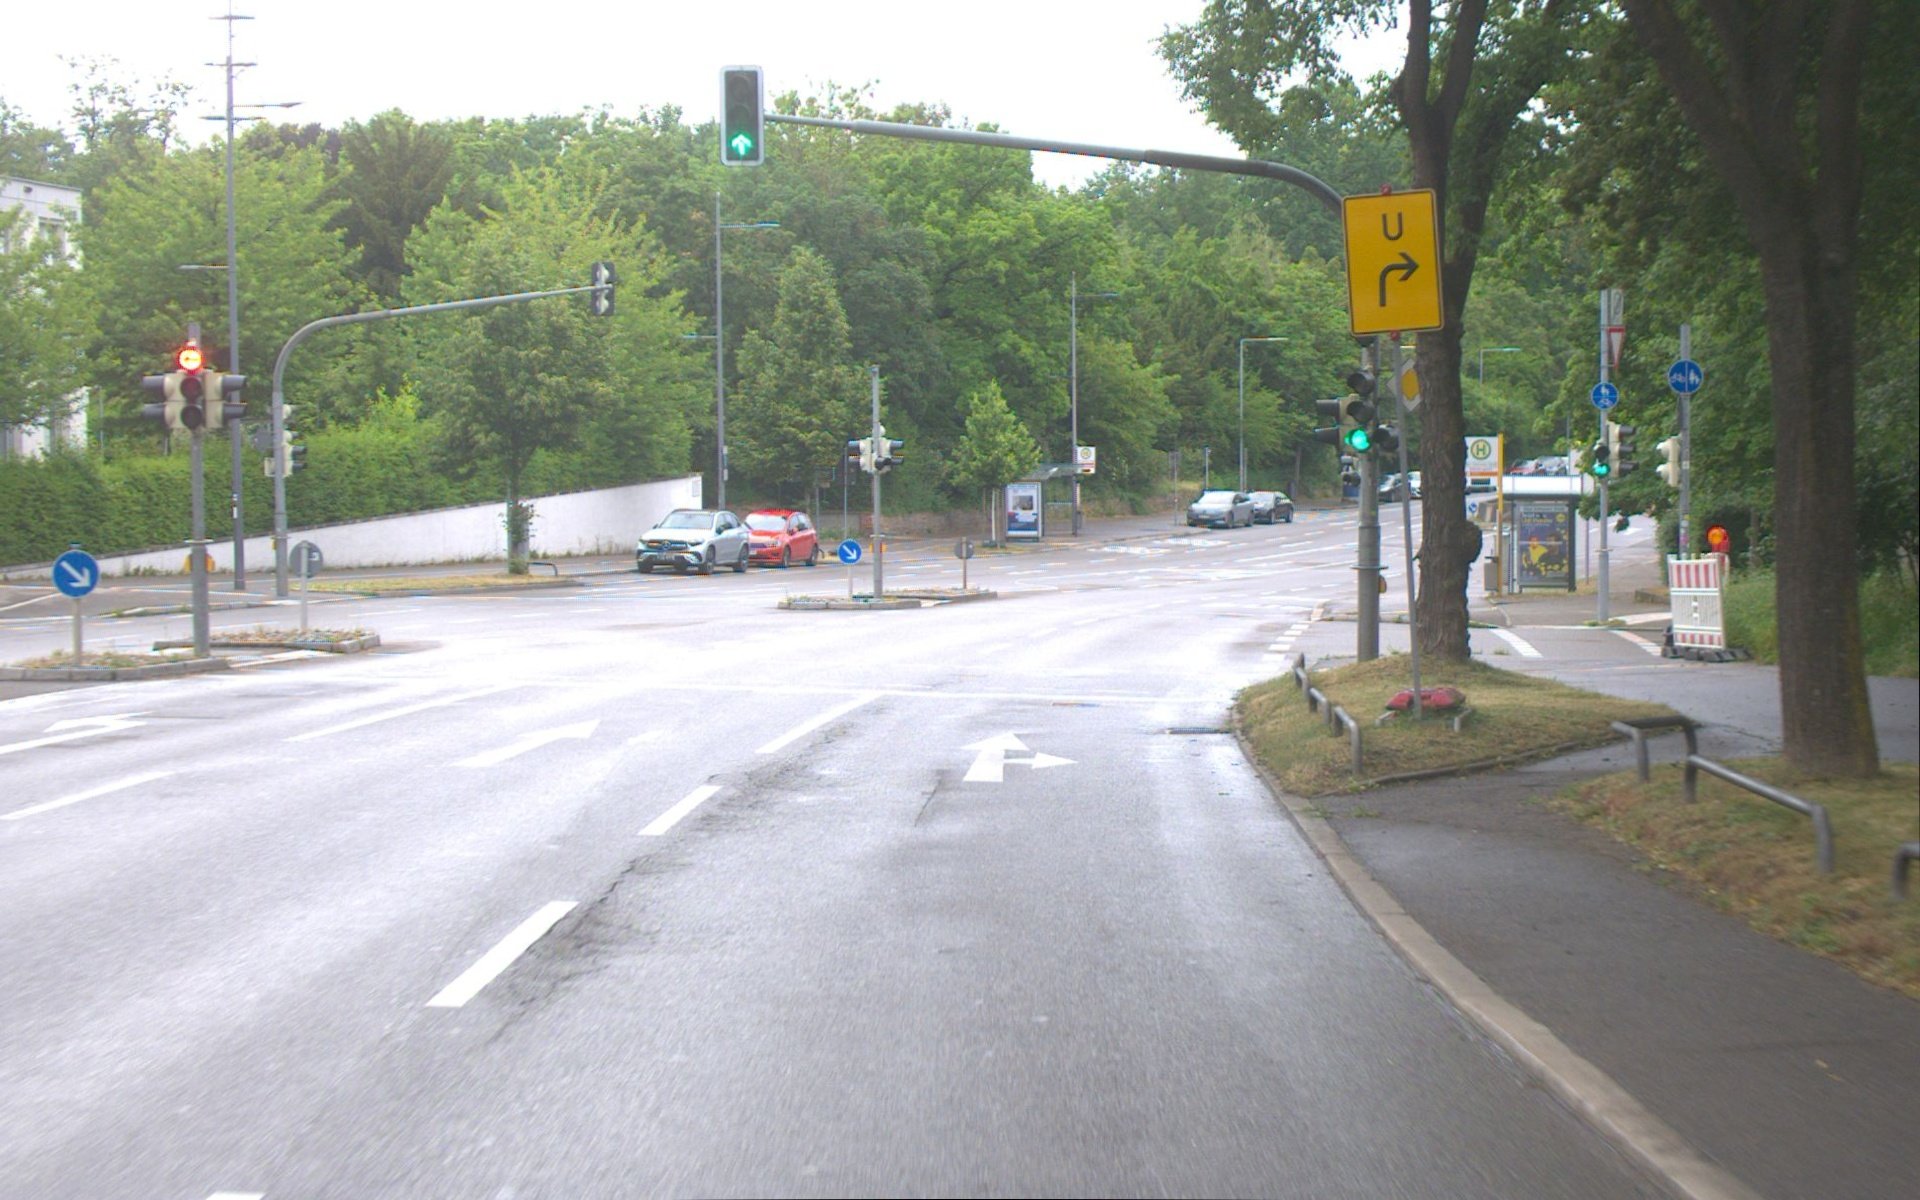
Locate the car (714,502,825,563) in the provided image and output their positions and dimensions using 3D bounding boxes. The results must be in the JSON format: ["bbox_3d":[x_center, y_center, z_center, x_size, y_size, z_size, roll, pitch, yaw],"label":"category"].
[{"bbox_3d":[-5.297,-1.904,96.251,1.876,1.569,4.220,3,2,14],"label":"car"}]

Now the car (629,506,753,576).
[{"bbox_3d":[-6.938,-1.553,89.072,1.854,1.634,4.091,4,3,16],"label":"car"}]

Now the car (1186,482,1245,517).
[{"bbox_3d":[11.033,-4.323,148.457,1.714,1.455,3.747,2,1,17],"label":"car"}]
